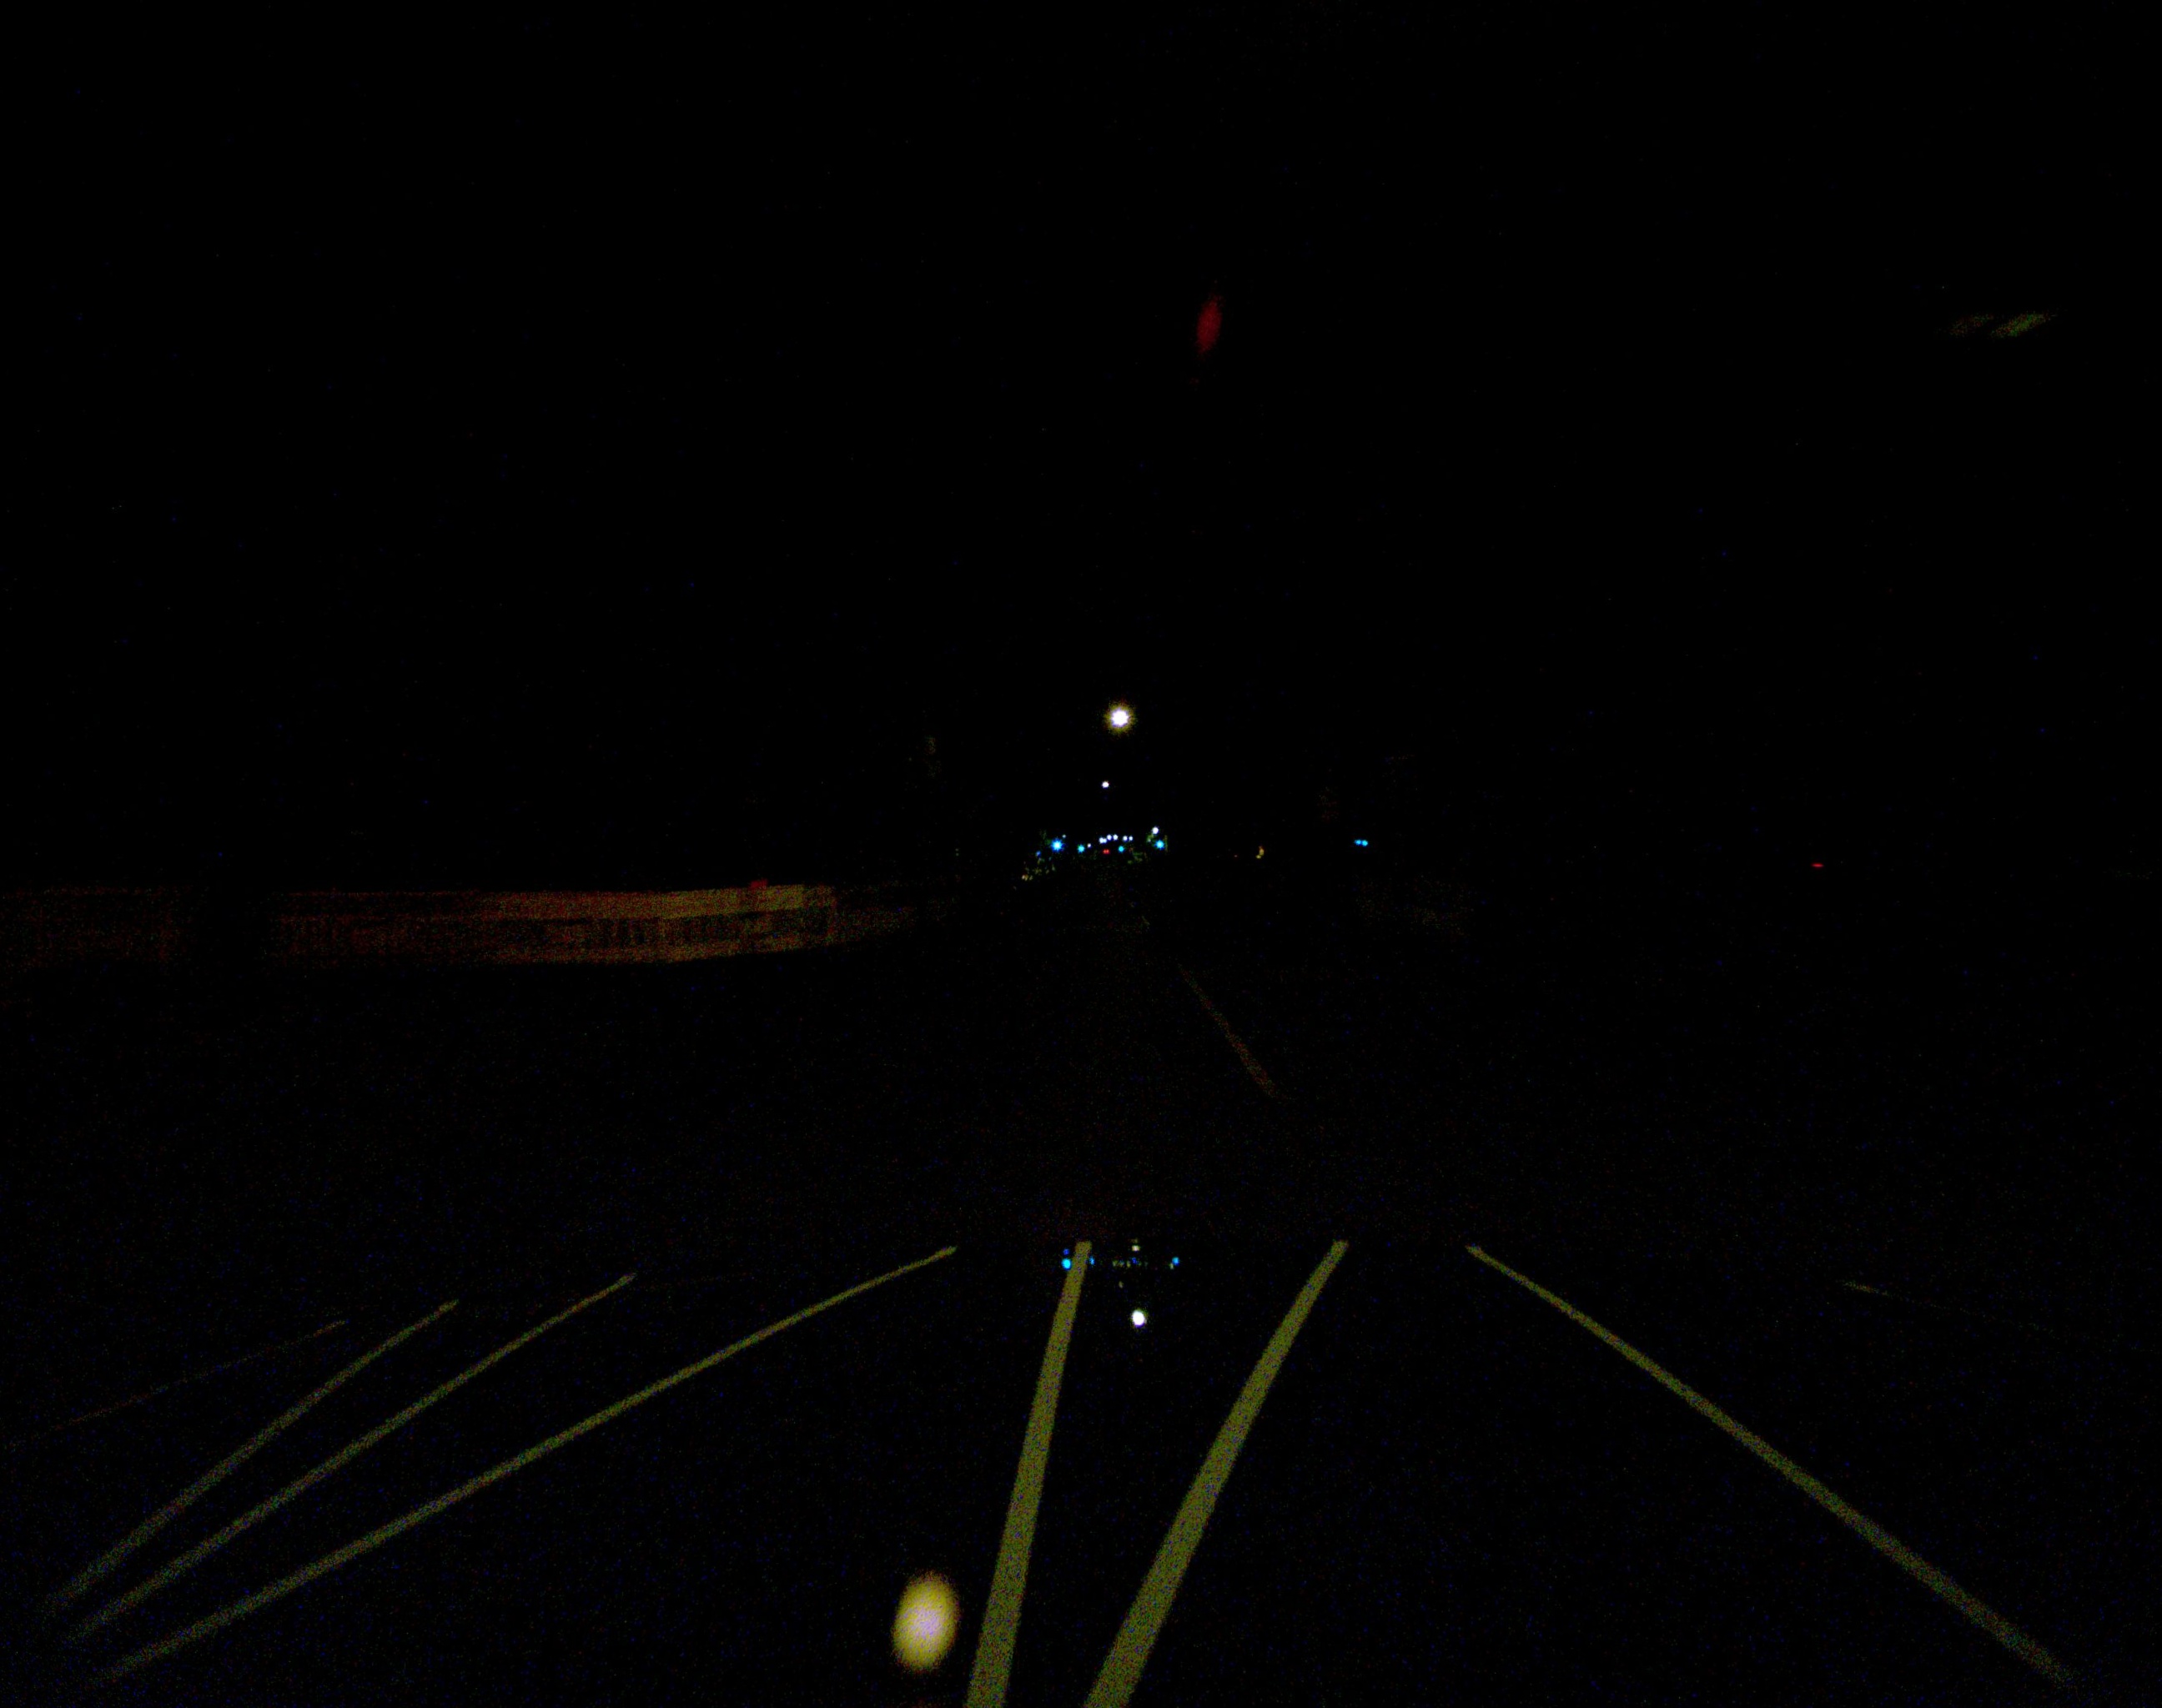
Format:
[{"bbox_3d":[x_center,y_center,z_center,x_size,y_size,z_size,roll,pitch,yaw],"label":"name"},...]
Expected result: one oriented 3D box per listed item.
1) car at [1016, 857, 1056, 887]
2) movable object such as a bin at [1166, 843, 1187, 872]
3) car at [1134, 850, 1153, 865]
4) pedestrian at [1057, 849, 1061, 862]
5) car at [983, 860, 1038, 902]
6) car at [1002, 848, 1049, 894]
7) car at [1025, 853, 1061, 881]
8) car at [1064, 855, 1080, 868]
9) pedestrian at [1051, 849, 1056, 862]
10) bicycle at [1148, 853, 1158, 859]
[{"bbox_3d":[-2.246,0.903,38.961,1.690,1.412,4.443,1,0,1],"label":"car"},{"bbox_3d":[8.974,0.290,71.638,1.575,2.611,3.910,1,0,2],"label":"movable object such as a bin"},{"bbox_3d":[7.541,0.412,92.397,1.887,1.832,4.814,-1,0,0],"label":"car"},{"bbox_3d":[-2.719,0.200,94.702,0.508,1.699,0.705,0,1,2],"label":"pedestrian"},{"bbox_3d":[-2.558,0.948,28.377,1.732,1.410,4.323,0,0,-1],"label":"car"},{"bbox_3d":[-2.361,0.702,33.114,1.740,1.844,4.316,0,0,0],"label":"car"},{"bbox_3d":[-2.151,0.734,44.455,1.744,1.469,4.000,2,0,2],"label":"car"},{"bbox_3d":[-1.089,0.900,92.541,1.740,1.445,4.001,0,0,3],"label":"car"},{"bbox_3d":[-3.433,0.191,94.692,0.477,1.699,0.571,0,1,2],"label":"pedestrian"},{"bbox_3d":[13.189,0.385,138.597,1.772,1.144,0.583,0,1,44],"label":"bicycle"}]
